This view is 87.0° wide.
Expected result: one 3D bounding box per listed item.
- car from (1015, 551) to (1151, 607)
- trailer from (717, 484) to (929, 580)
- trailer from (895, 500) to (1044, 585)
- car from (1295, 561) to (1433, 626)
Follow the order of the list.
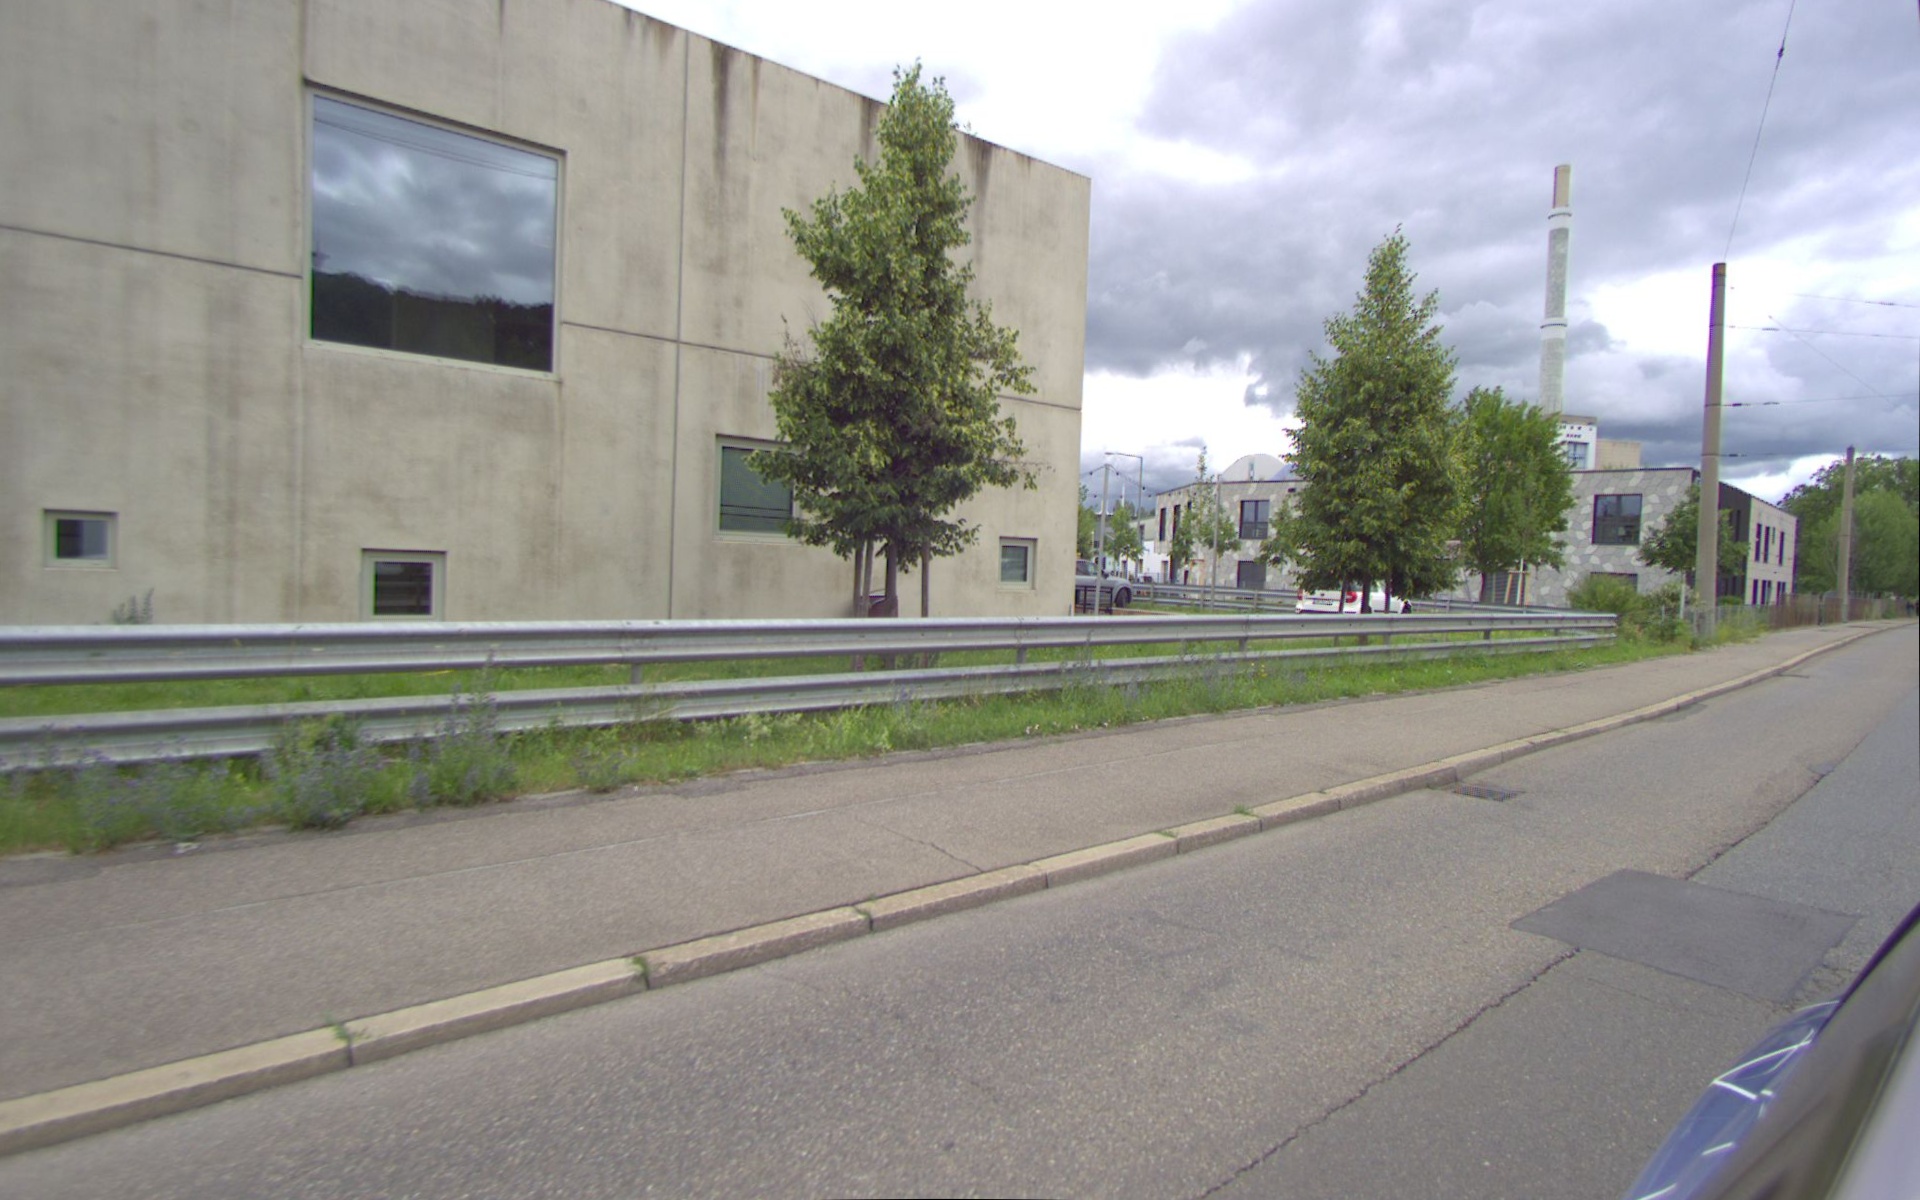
[{"bbox_3d":[4.225,-0.702,34.286,4.605,1.741,1.916,0,3,-41],"label":"car"},{"bbox_3d":[-6.738,-3.250,49.723,9.812,4.011,2.926,2,2,-17],"label":"trailer"},{"bbox_3d":[0.677,-3.066,55.579,2.941,4.122,8.556,4,2,44],"label":"trailer"},{"bbox_3d":[10.842,-0.172,26.996,4.355,1.594,1.751,1,1,-43],"label":"car"}]
